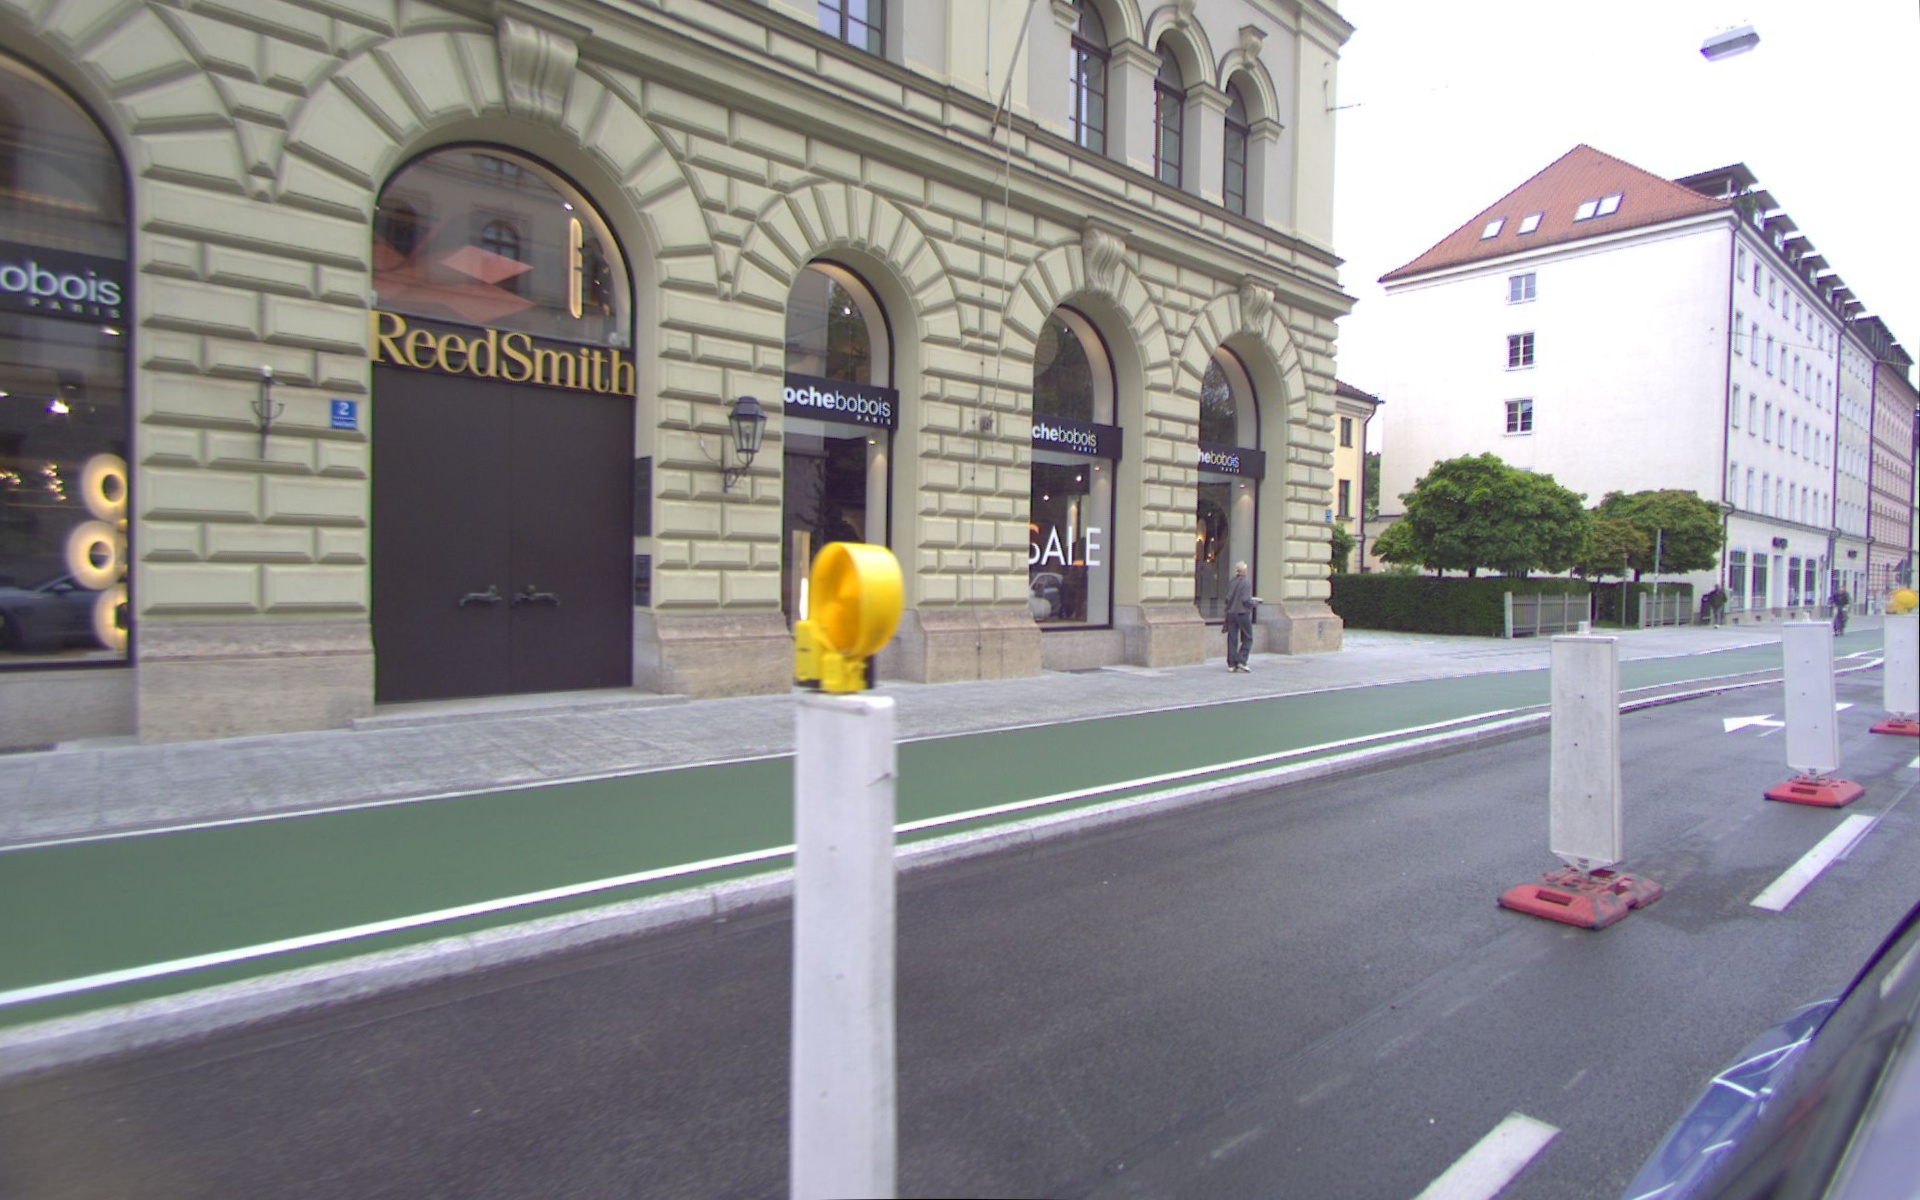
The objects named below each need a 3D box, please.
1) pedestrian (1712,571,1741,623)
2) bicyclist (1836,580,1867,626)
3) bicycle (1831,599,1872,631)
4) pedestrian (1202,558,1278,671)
[{"bbox_3d":[28.864,-0.118,38.120,0.811,1.897,0.654,0,3,-41],"label":"pedestrian"},{"bbox_3d":[30.794,0.094,34.958,0.843,1.572,0.723,0,0,-41],"label":"bicyclist"},{"bbox_3d":[30.797,0.494,34.961,2.487,1.045,0.750,0,0,-41],"label":"bicycle"},{"bbox_3d":[4.460,0.208,16.107,1.067,1.725,0.633,0,2,-41],"label":"pedestrian"}]
